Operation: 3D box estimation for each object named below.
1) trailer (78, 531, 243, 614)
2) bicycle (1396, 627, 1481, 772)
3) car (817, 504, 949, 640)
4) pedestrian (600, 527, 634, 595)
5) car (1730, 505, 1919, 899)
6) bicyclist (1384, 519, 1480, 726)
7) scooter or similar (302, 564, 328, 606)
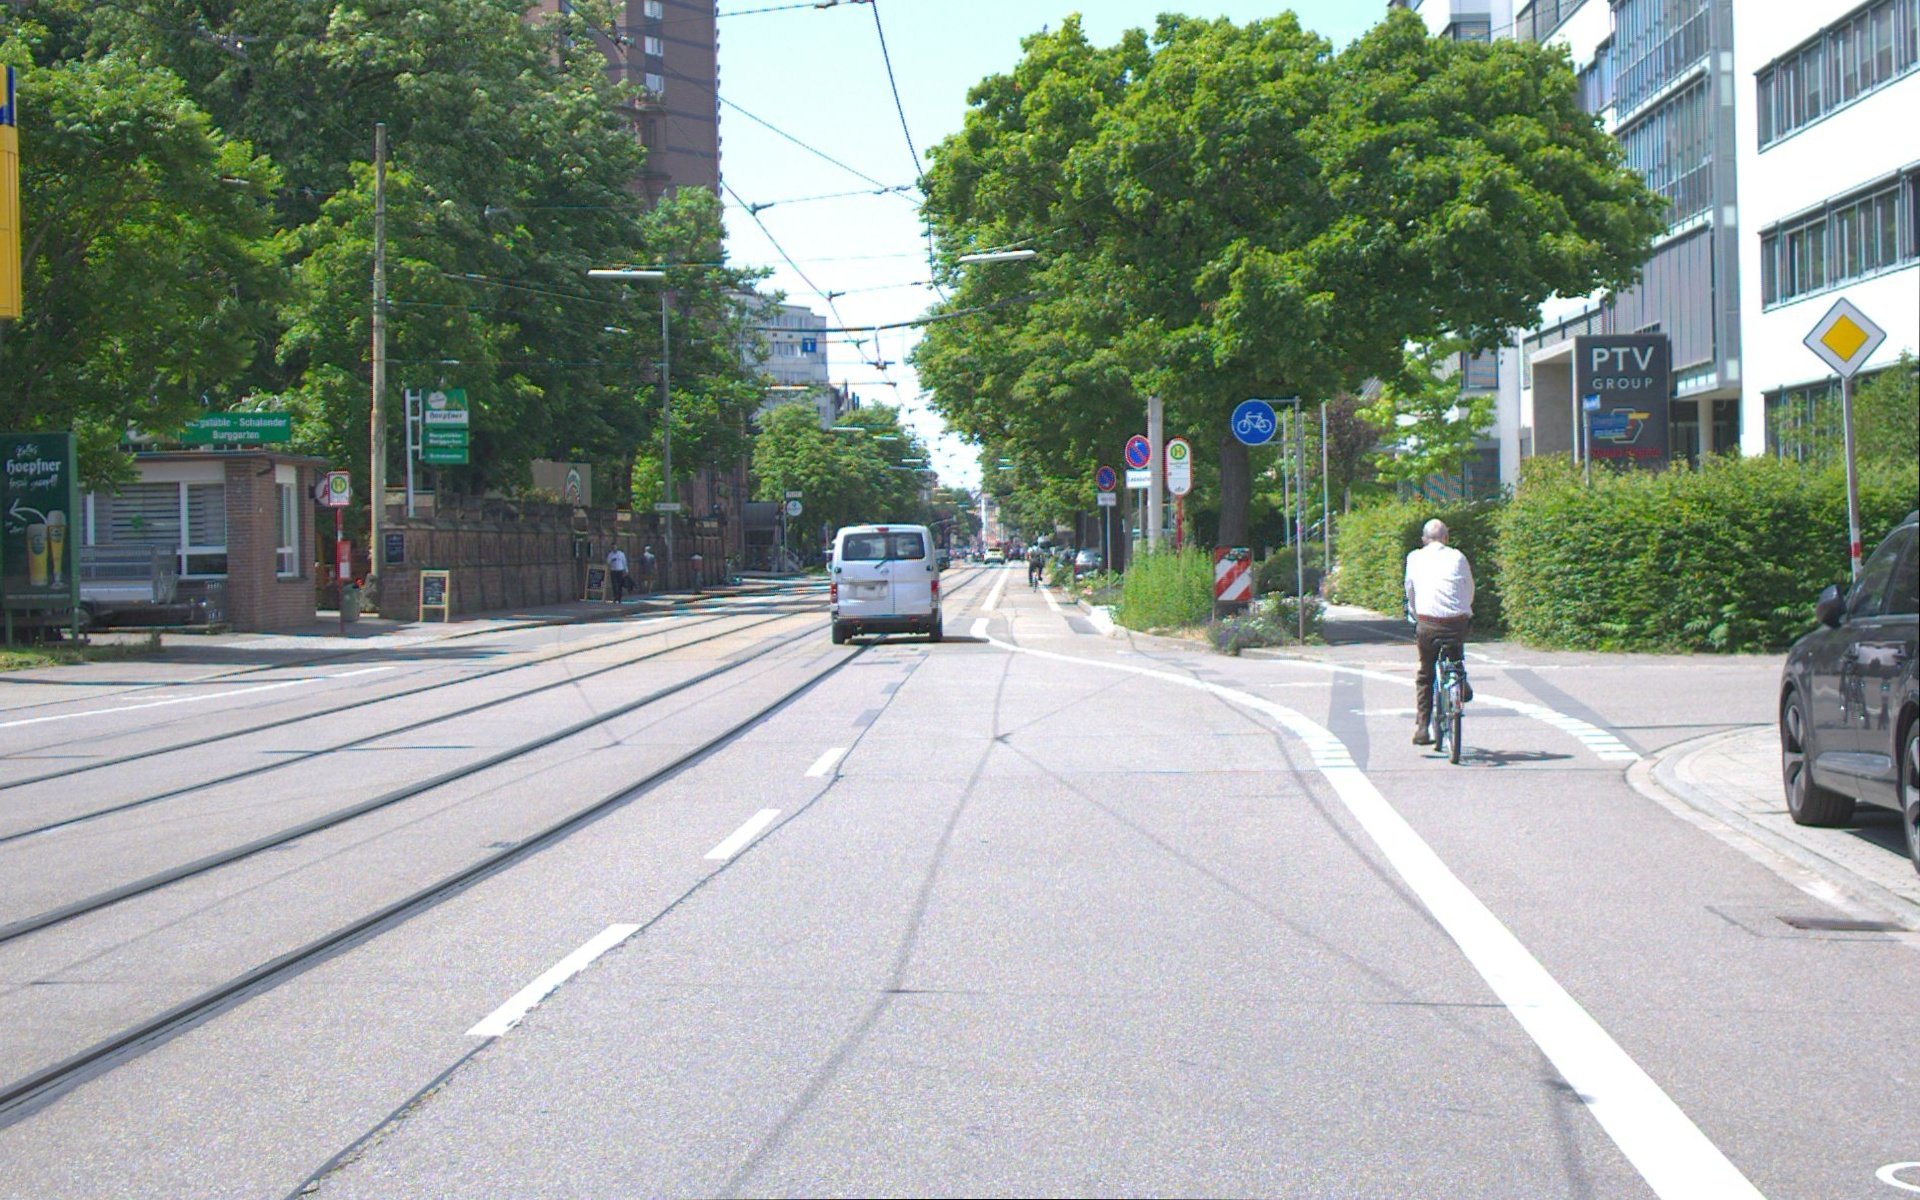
[{"bbox_3d":[-14.842,-0.514,63.887,2.727,1.521,1.329,0,0,2],"label":"trailer"},{"bbox_3d":[3.270,0.662,23.593,0.466,0.884,2.048,-1,1,5],"label":"bicycle"},{"bbox_3d":[-1.189,-0.489,54.692,1.752,2.006,4.000,-2,2,3],"label":"car"},{"bbox_3d":[-10.361,-1.172,103.853,0.863,2.007,0.646,-3,0,-1],"label":"pedestrian"},{"bbox_3d":[5.181,0.364,17.053,1.863,1.681,5.000,-2,1,4],"label":"car"},{"bbox_3d":[3.231,0.141,23.579,0.591,1.392,0.841,-1,1,4],"label":"bicyclist"},{"bbox_3d":[-13.199,-0.312,70.351,0.431,0.860,0.500,-1,0,-1],"label":"scooter or similar"}]
